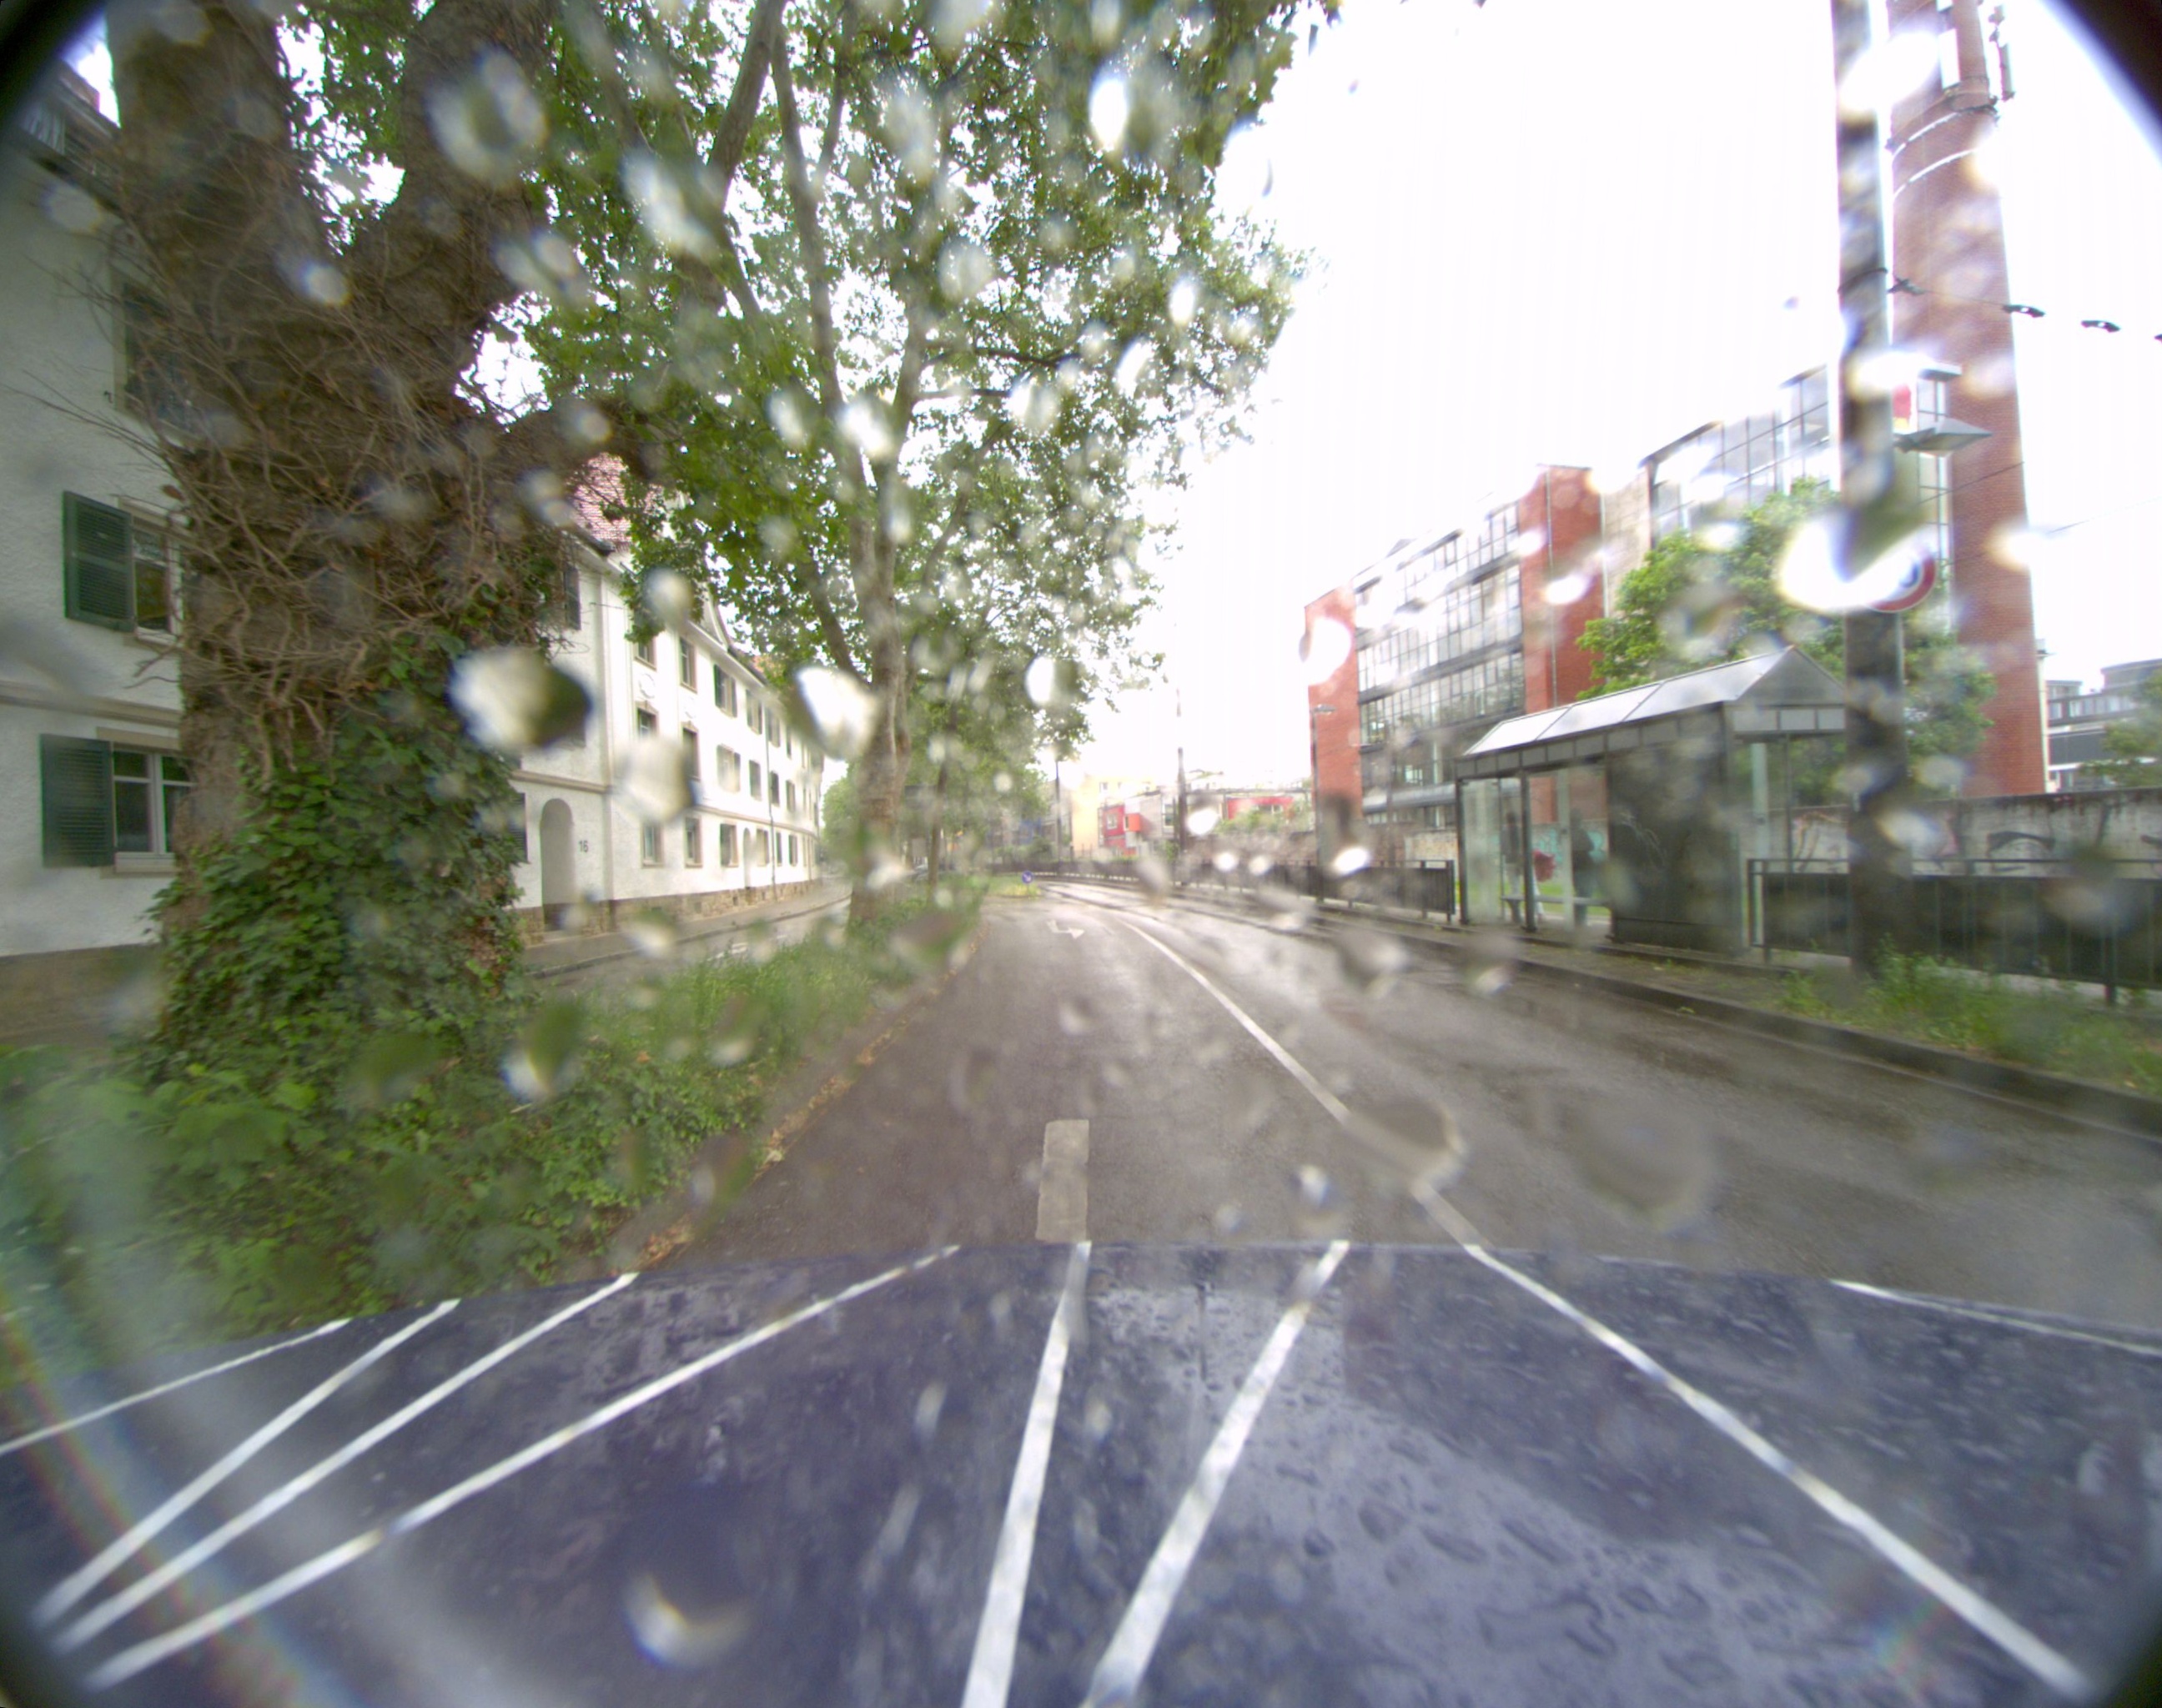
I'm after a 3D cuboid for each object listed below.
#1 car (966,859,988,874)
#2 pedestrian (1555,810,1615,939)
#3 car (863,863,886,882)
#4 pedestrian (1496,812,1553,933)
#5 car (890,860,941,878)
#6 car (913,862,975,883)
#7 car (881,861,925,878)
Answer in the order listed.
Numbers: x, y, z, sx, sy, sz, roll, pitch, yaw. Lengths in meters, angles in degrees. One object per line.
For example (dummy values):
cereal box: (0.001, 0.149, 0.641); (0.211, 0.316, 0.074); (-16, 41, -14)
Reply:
car: (-11.898, 1.427, 86.888); (1.694, 1.713, 3.685); (-1, 0, -20)
pedestrian: (6.947, 0.273, 10.472); (0.584, 1.721, 0.566); (-1, 1, -43)
car: (-18.907, 1.689, 69.565); (1.853, 1.586, 4.210); (-2, 0, -17)
pedestrian: (6.560, 0.263, 11.239); (0.584, 1.721, 0.566); (-1, 1, -41)
car: (-15.275, 1.372, 70.240); (4.328, 1.603, 1.749); (-1, 0, 6)
car: (-10.589, 1.436, 58.822); (4.224, 1.532, 1.932); (-1, 0, 11)
car: (-22.189, 1.887, 94.632); (4.884, 2.002, 2.002); (-1, 0, 11)
